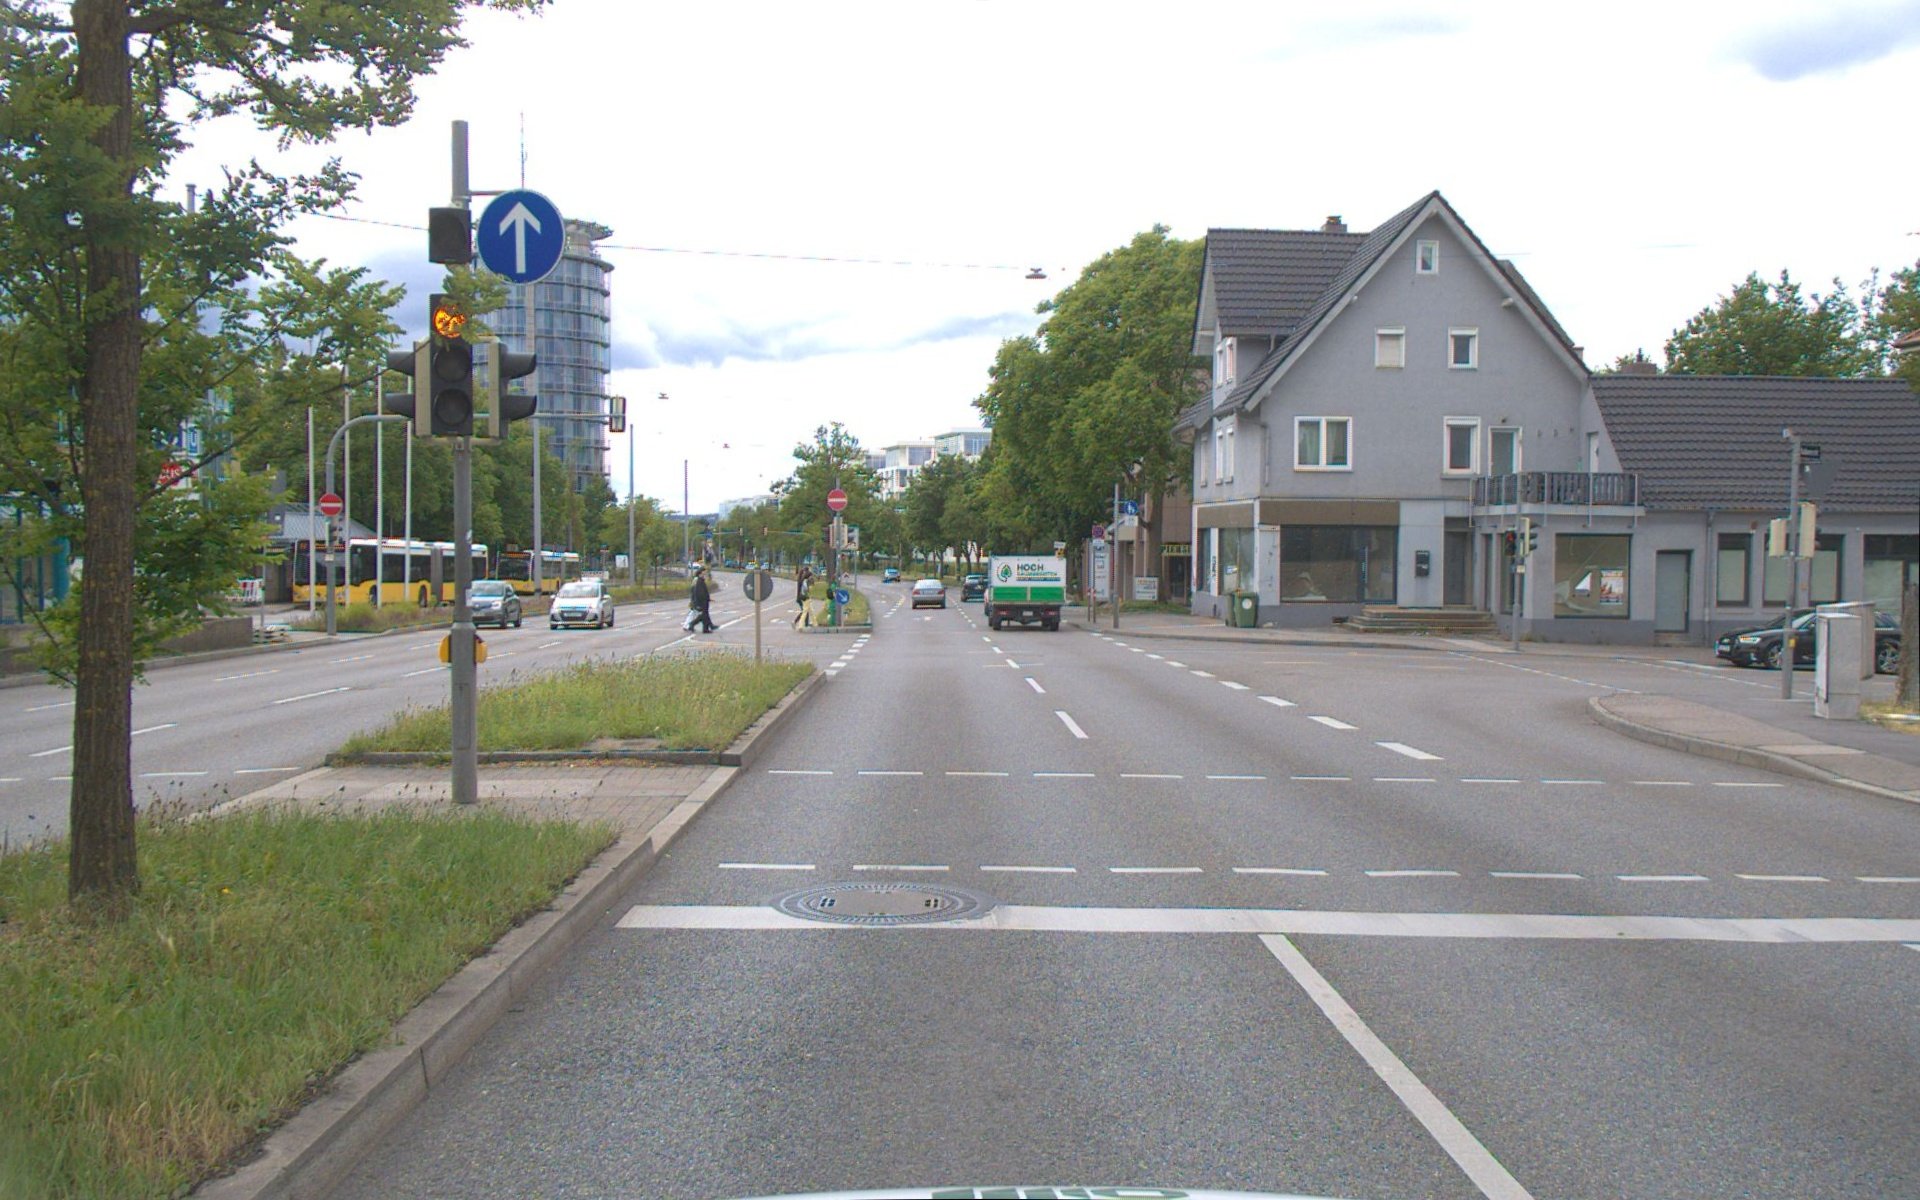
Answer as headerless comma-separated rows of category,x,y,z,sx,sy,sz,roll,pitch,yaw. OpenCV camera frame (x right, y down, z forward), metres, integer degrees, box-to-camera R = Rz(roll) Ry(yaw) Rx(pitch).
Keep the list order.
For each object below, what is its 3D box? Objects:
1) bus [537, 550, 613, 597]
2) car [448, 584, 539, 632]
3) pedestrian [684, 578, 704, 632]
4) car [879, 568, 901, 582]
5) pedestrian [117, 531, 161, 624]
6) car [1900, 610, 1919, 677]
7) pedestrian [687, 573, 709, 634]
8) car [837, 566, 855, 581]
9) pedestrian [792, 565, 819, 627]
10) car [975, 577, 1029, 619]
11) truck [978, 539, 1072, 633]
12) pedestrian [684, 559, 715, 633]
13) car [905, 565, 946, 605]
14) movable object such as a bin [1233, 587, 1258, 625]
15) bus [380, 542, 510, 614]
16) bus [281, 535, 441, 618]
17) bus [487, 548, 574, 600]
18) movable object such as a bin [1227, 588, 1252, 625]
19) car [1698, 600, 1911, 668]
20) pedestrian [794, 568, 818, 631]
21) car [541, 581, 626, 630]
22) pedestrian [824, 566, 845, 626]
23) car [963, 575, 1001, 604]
bus,-29.536,-1.998,127.426,2.772,3.490,10.738,0,0,3
car,-15.192,0.232,54.011,1.953,1.512,3.998,0,0,-2
pedestrian,-7.545,0.129,46.892,0.533,1.522,0.485,0,0,-9
car,-7.873,-2.803,184.708,1.957,1.579,3.991,0,1,-10
pedestrian,-18.370,-0.501,37.017,0.668,2.049,0.645,0,0,-5
car,22.431,0.996,35.060,4.006,1.395,1.799,2,0,-2
pedestrian,-7.537,0.103,47.660,0.601,1.746,0.545,0,0,-8
car,-12.365,-2.880,179.069,1.954,1.545,3.997,0,1,-4
pedestrian,-4.384,-0.122,46.944,0.731,1.746,0.582,0,0,-8
car,1.629,-0.089,65.959,1.953,1.579,3.999,1,1,-1
truck,1.900,-0.501,50.823,2.421,2.656,6.546,1,2,-2
pedestrian,-7.226,-0.119,45.922,0.814,2.049,0.545,0,0,-8
car,-1.654,-0.747,80.168,1.953,1.862,3.999,0,1,-1
movable object such as a bin,8.086,0.166,46.895,0.592,1.078,0.589,1,0,1
bus,-26.332,-1.102,85.155,2.772,3.490,10.738,0,0,3
bus,-26.904,-1.025,74.978,2.772,3.490,10.738,0,0,3
bus,-30.127,-1.810,116.679,2.772,3.490,10.738,0,0,3
movable object such as a bin,8.041,0.188,47.577,0.603,1.061,0.589,1,0,1
car,19.539,0.767,38.372,4.006,1.395,1.799,2,0,-2
pedestrian,-4.320,-0.019,46.390,0.641,1.746,0.451,0,0,-8
car,-12.187,0.165,53.748,1.953,1.512,3.998,0,0,-2
pedestrian,-3.653,-0.128,48.227,0.572,1.746,0.545,0,0,-8
car,1.227,-0.617,93.891,1.953,1.579,3.999,1,1,-1
